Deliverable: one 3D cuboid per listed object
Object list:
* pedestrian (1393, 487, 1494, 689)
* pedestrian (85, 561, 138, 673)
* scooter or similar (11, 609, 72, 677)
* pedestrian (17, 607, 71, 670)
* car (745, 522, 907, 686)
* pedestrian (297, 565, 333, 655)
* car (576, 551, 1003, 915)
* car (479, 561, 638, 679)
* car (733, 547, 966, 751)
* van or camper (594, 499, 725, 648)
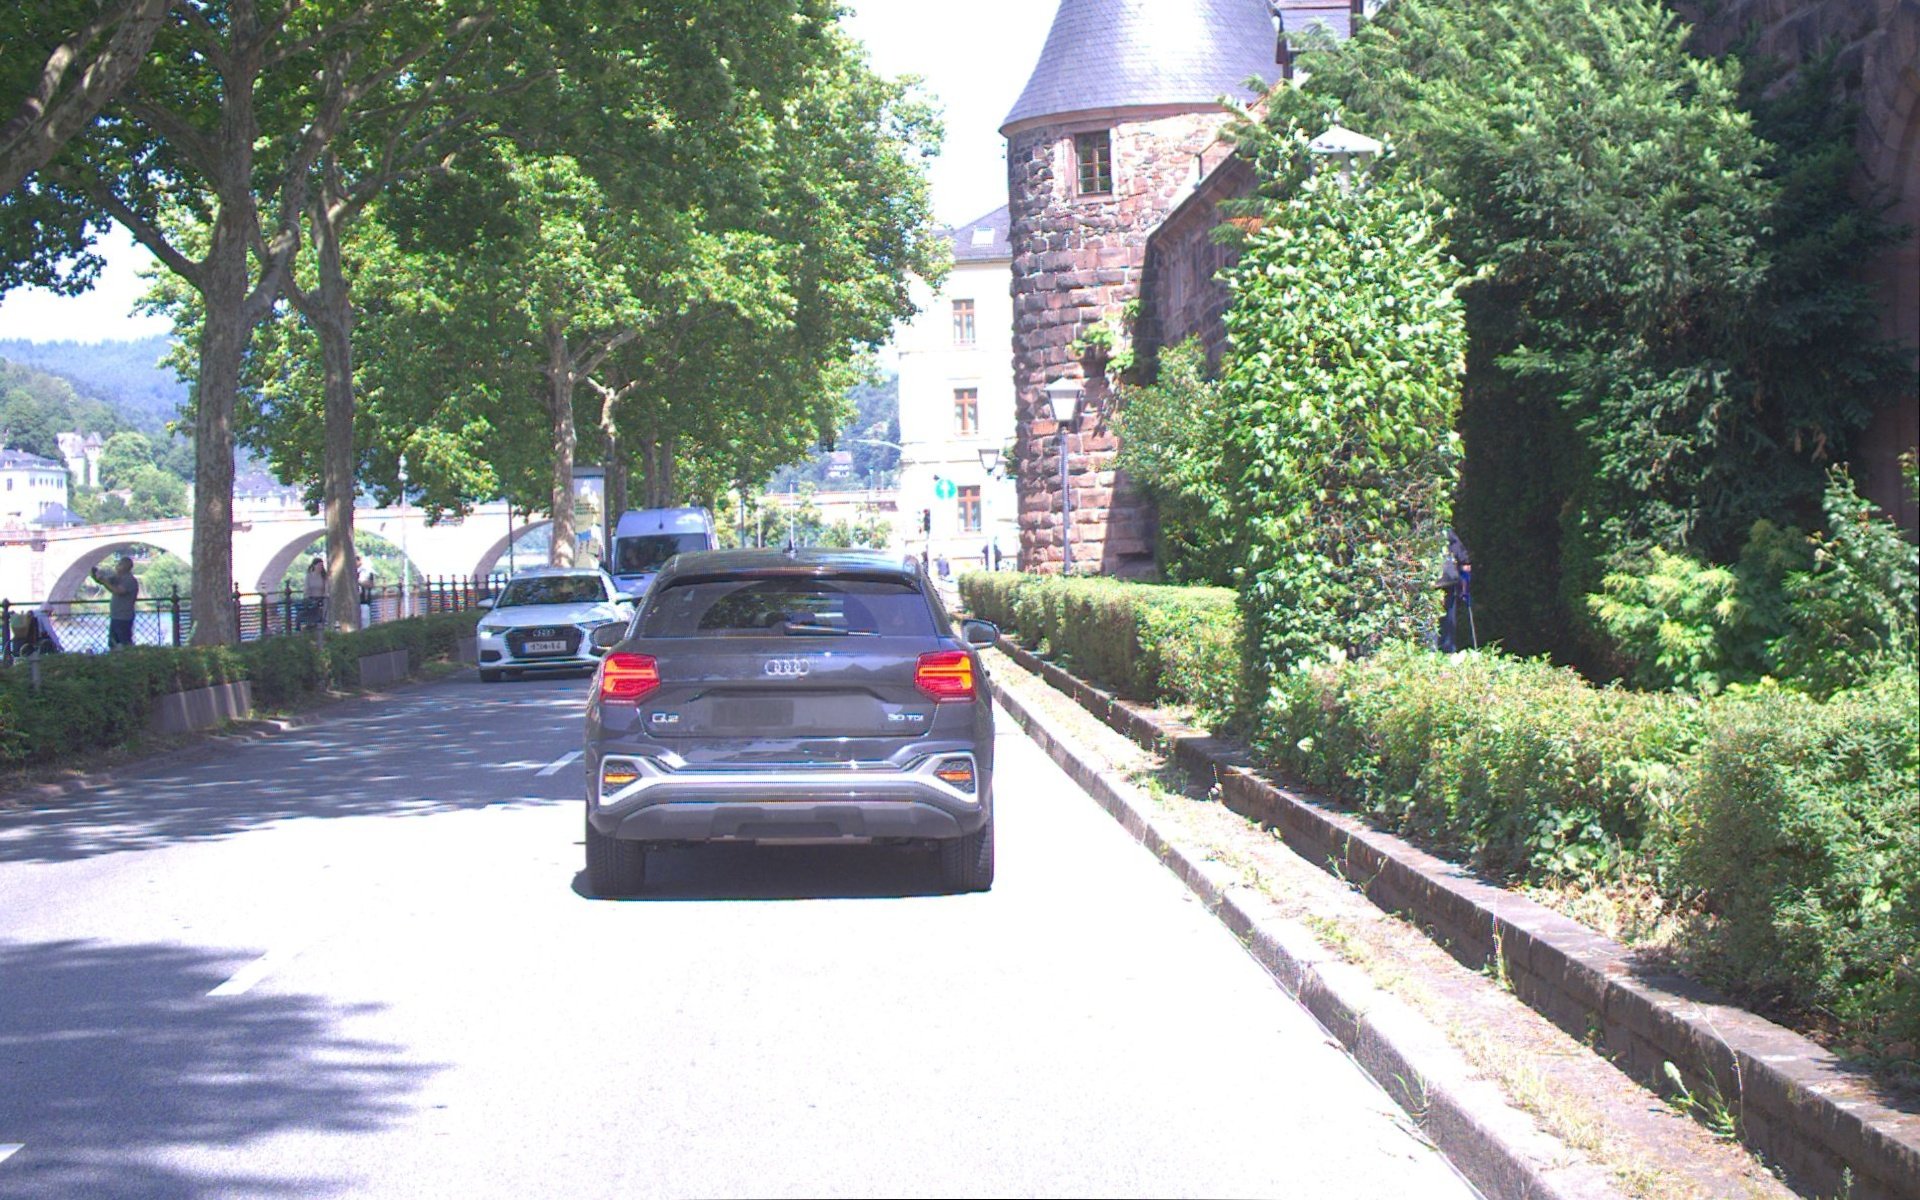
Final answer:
[{"bbox_3d":[4.069,-0.106,28.966,0.698,1.647,0.705,-3,1,1],"label":"pedestrian"},{"bbox_3d":[-12.308,0.246,49.878,0.644,1.613,0.459,1,0,-3],"label":"pedestrian"},{"bbox_3d":[-13.424,0.629,50.260,0.631,0.965,1.012,-1,0,-2],"label":"scooter or similar"},{"bbox_3d":[-13.427,0.561,50.417,0.607,0.881,0.705,-1,1,-2],"label":"pedestrian"},{"bbox_3d":[-1.778,0.020,46.124,1.993,2.007,4.000,-3,1,-2],"label":"car"},{"bbox_3d":[-11.325,0.171,60.357,0.457,1.549,0.586,-3,1,-2],"label":"pedestrian"},{"bbox_3d":[-0.784,0.522,15.979,1.748,1.489,3.629,0,1,-3],"label":"car"},{"bbox_3d":[-5.407,0.232,46.712,1.769,1.452,4.535,-2,1,-3],"label":"car"},{"bbox_3d":[-0.889,0.366,29.438,1.801,1.557,3.716,-3,1,0],"label":"car"},{"bbox_3d":[-5.596,-0.503,64.662,1.960,2.558,5.841,-3,1,-1],"label":"van or camper"}]
